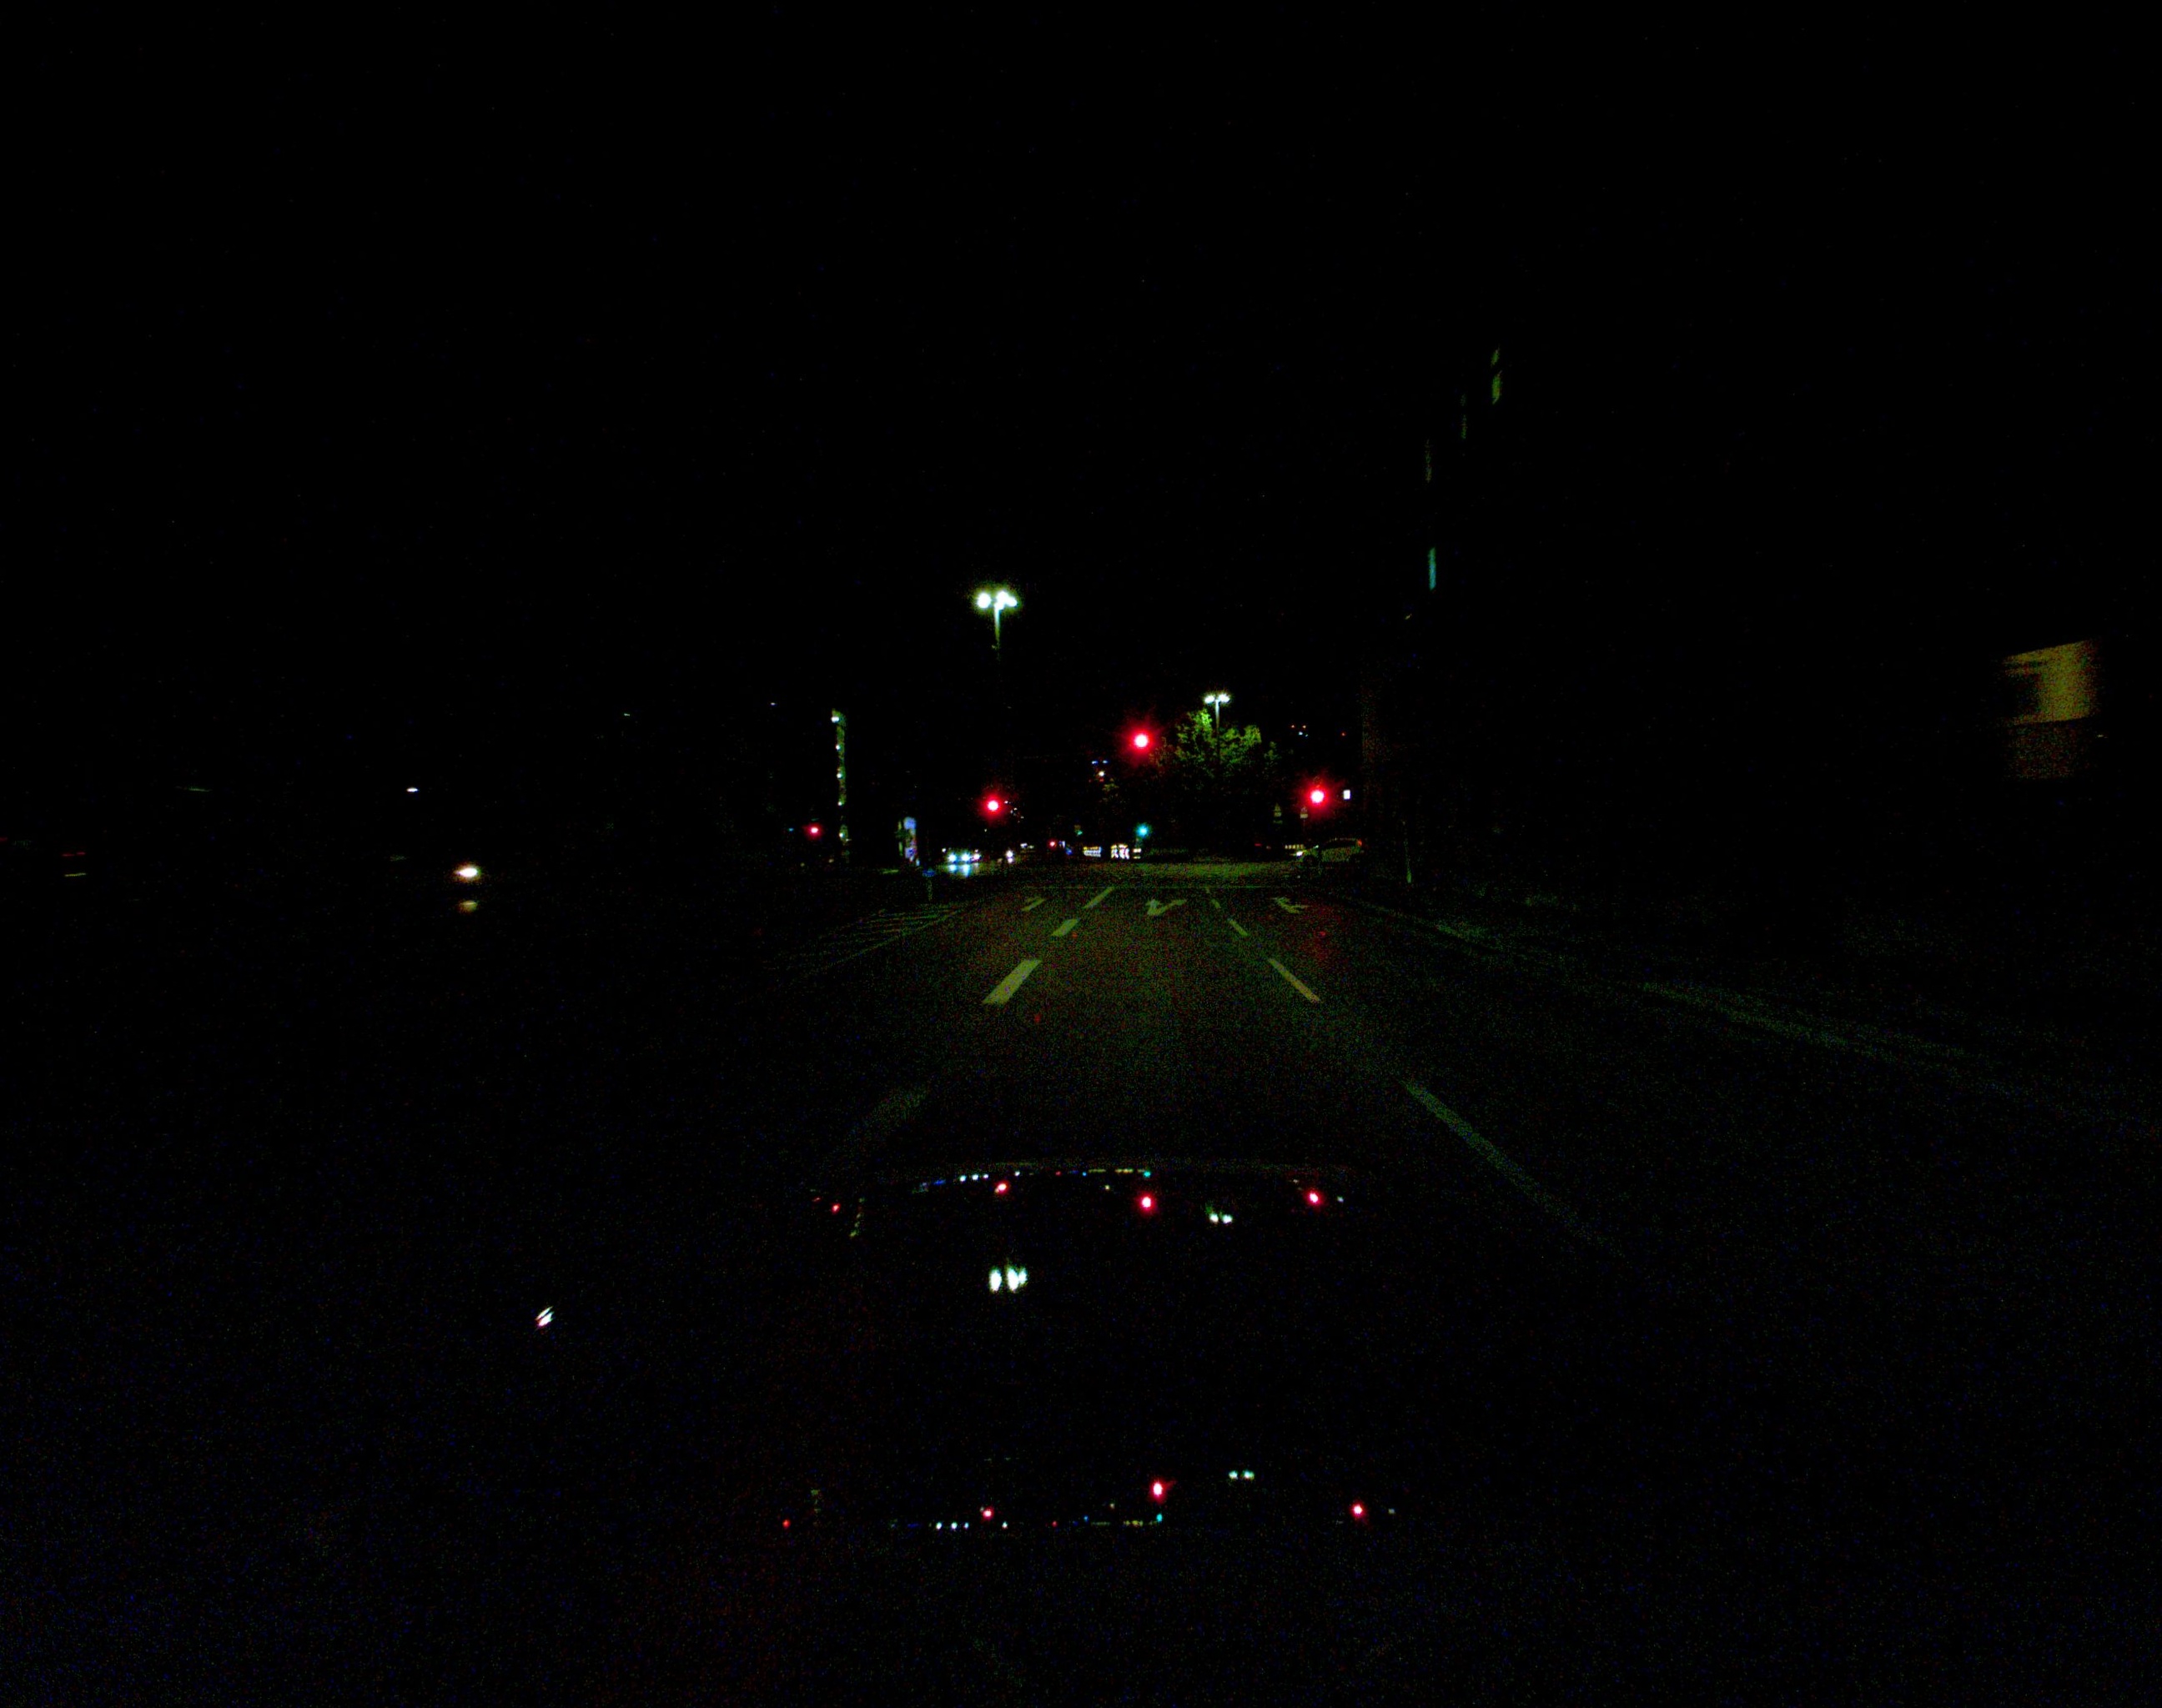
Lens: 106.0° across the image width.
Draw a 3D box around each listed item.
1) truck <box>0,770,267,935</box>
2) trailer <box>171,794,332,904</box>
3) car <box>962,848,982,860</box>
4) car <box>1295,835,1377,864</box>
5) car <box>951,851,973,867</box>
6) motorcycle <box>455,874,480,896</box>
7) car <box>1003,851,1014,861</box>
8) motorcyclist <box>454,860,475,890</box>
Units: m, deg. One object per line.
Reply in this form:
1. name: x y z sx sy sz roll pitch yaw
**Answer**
1. truck: -27.002 0.017 22.970 2.955 3.796 9.471 -1 0 -28
2. trailer: -31.674 -0.163 31.440 2.630 3.791 6.452 -1 0 -30
3. car: -11.868 0.009 89.051 1.753 1.322 3.545 -1 0 -1
4. car: 13.906 -0.224 44.474 3.949 1.491 1.720 -1 0 30
5. car: -11.890 0.513 81.740 1.611 1.515 3.998 -1 0 -1
6. motorcycle: -26.941 1.359 35.767 0.583 0.896 2.129 -4 2 -44
7. car: -13.503 0.367 151.210 1.753 1.728 3.545 -1 0 -1
8. motorcyclist: -26.933 0.915 35.598 0.652 1.261 0.572 -1 -1 -44
